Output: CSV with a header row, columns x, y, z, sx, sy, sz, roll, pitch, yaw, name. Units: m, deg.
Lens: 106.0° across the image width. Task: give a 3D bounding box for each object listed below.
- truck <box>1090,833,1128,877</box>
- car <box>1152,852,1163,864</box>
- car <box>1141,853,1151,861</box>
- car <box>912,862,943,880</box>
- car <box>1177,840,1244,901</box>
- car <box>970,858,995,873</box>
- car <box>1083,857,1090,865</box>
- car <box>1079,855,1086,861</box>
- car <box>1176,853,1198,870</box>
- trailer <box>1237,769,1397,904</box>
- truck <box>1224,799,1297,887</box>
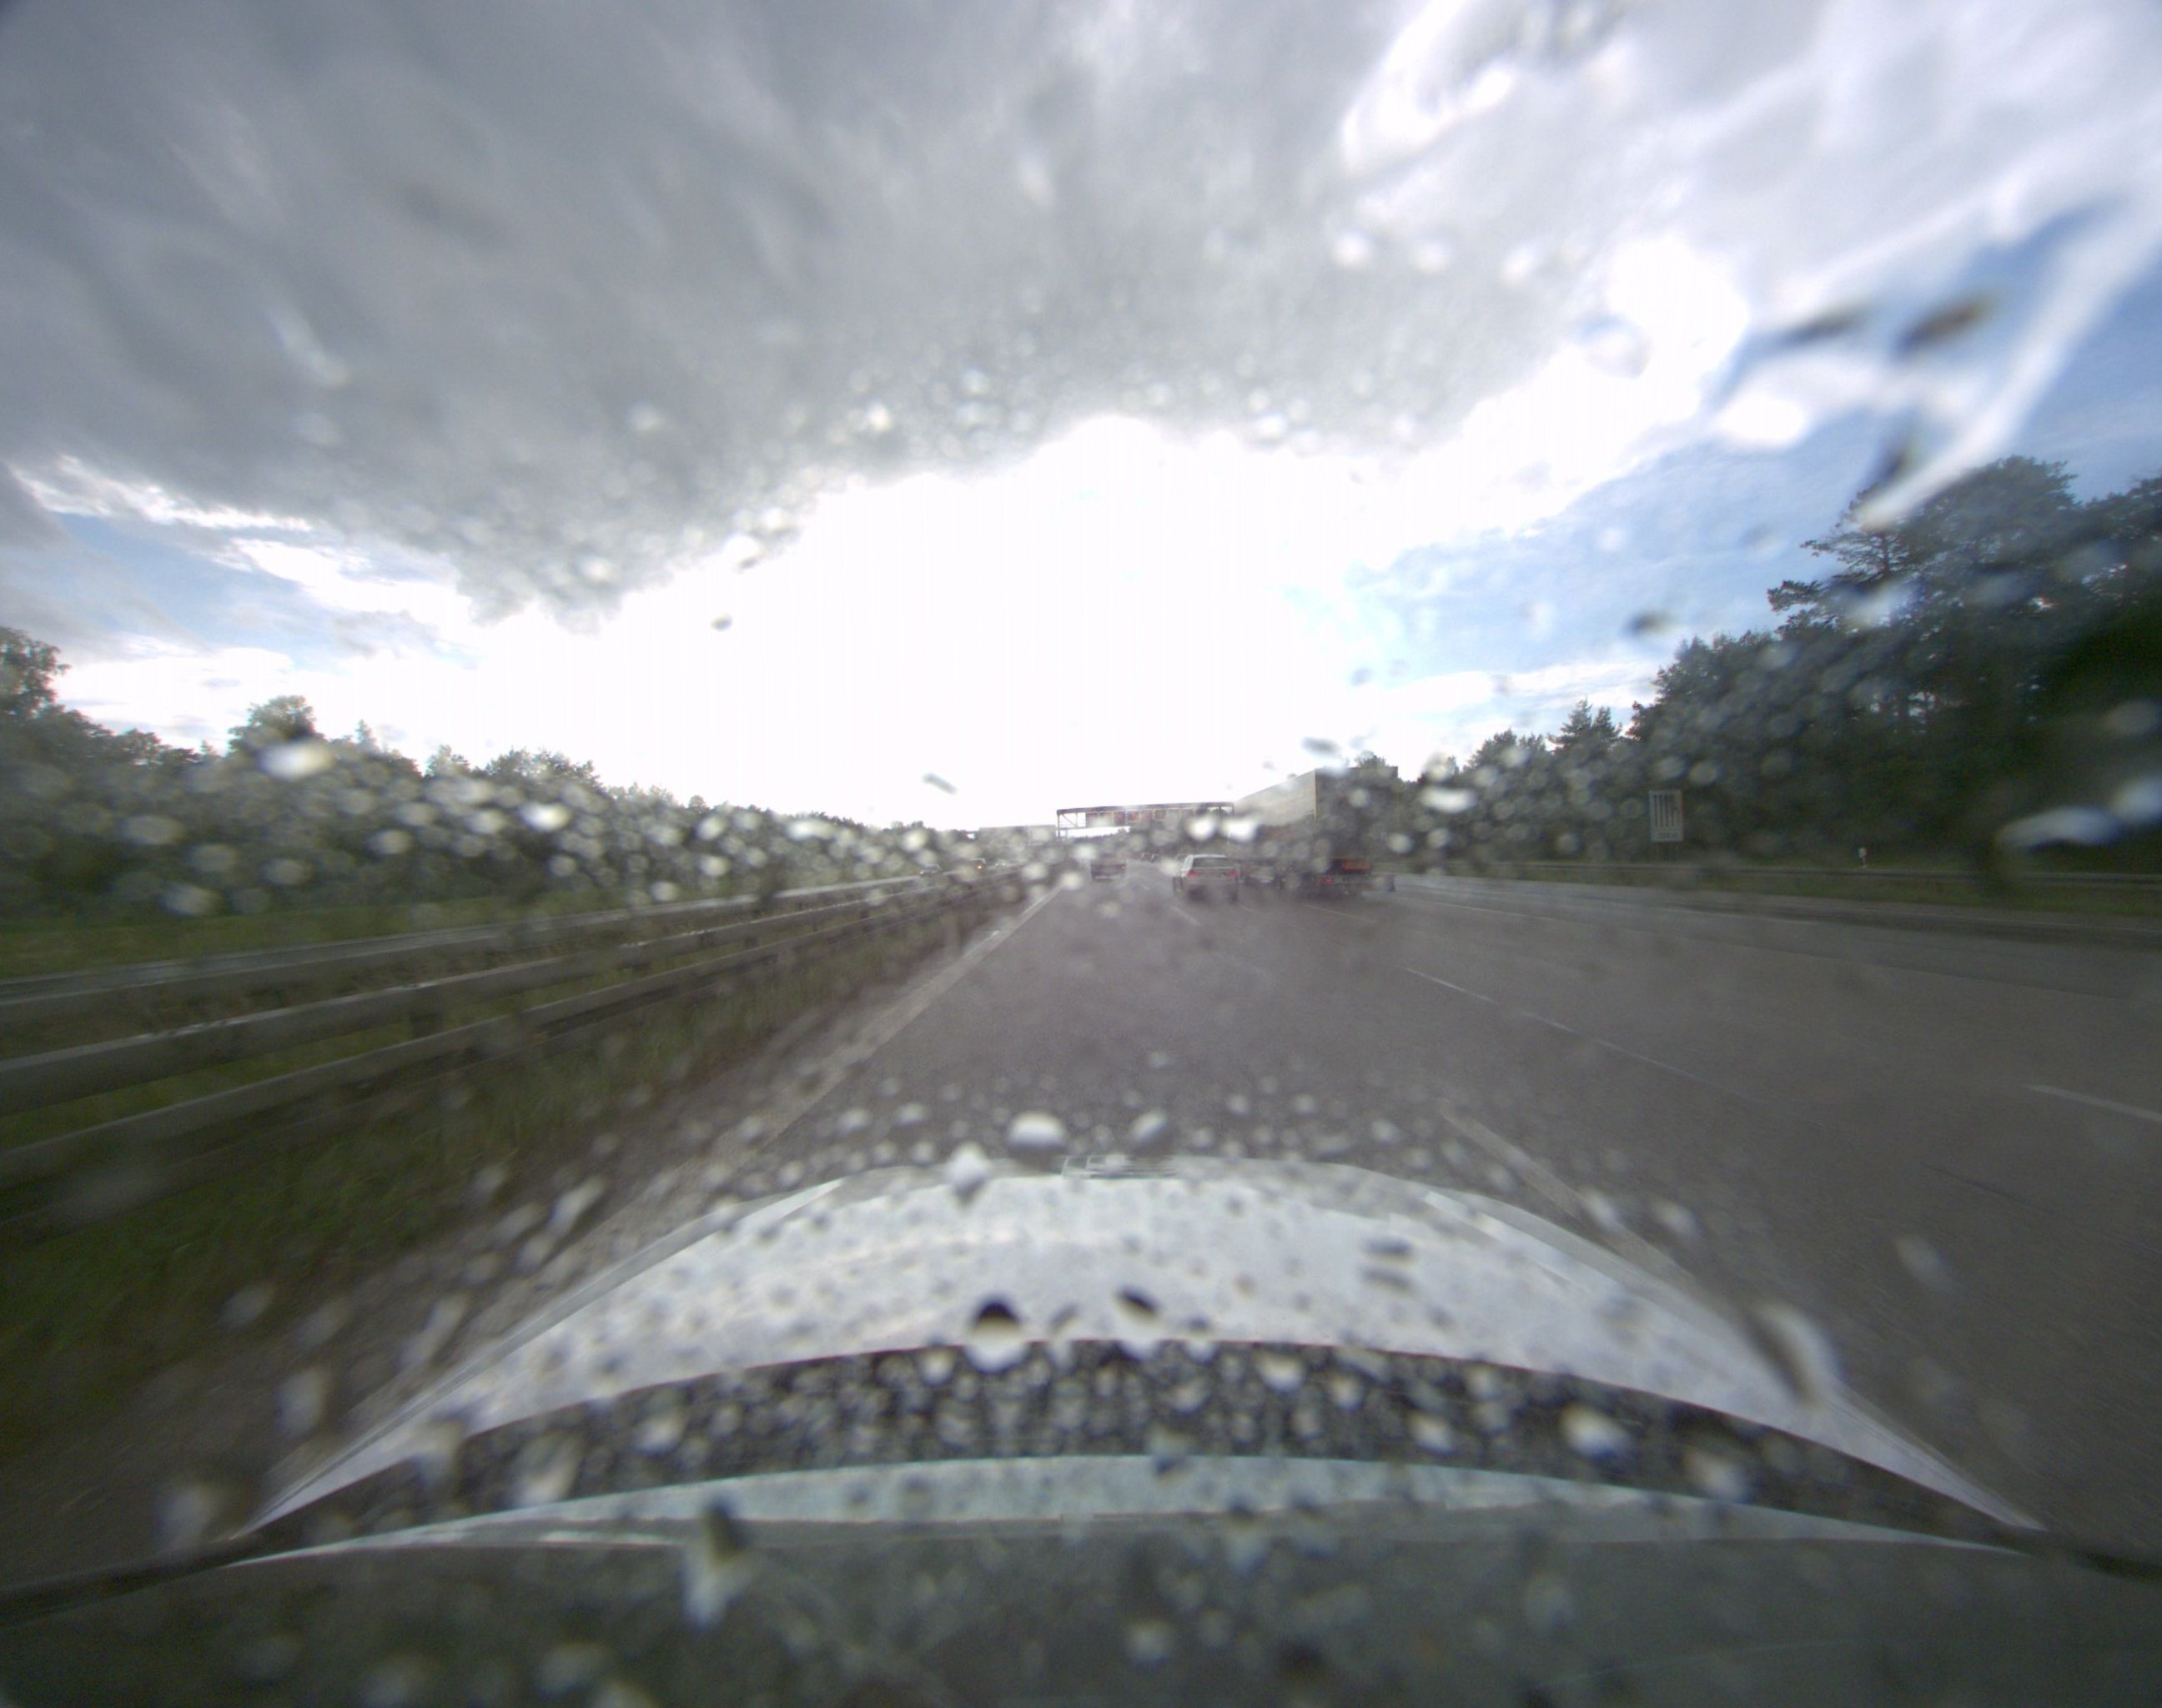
x,y,z,sx,sy,sz,roll,pitch,yaw,name
1.744,0.063,49.368,2.128,2.489,5.317,-1,0,3,truck
13.729,0.729,146.236,1.985,2.013,4.005,0,0,4,car
13.650,0.647,170.700,1.735,1.688,4.000,-1,0,1,car
-14.922,1.641,79.562,1.986,1.500,4.610,-4,0,1,car
4.379,0.517,28.224,2.067,1.885,5.021,-1,0,7,car
-10.730,1.251,88.848,1.986,1.609,4.610,-1,0,1,car
1.435,1.872,210.674,1.611,2.013,4.000,0,0,1,car
0.498,1.177,257.136,1.788,2.013,4.002,0,0,2,car
9.541,0.614,73.340,1.822,1.466,4.006,-1,0,5,car
8.346,-0.525,31.062,2.315,4.001,13.413,-1,0,1,trailer
8.473,-0.503,38.941,2.286,3.868,5.392,-1,0,1,truck
